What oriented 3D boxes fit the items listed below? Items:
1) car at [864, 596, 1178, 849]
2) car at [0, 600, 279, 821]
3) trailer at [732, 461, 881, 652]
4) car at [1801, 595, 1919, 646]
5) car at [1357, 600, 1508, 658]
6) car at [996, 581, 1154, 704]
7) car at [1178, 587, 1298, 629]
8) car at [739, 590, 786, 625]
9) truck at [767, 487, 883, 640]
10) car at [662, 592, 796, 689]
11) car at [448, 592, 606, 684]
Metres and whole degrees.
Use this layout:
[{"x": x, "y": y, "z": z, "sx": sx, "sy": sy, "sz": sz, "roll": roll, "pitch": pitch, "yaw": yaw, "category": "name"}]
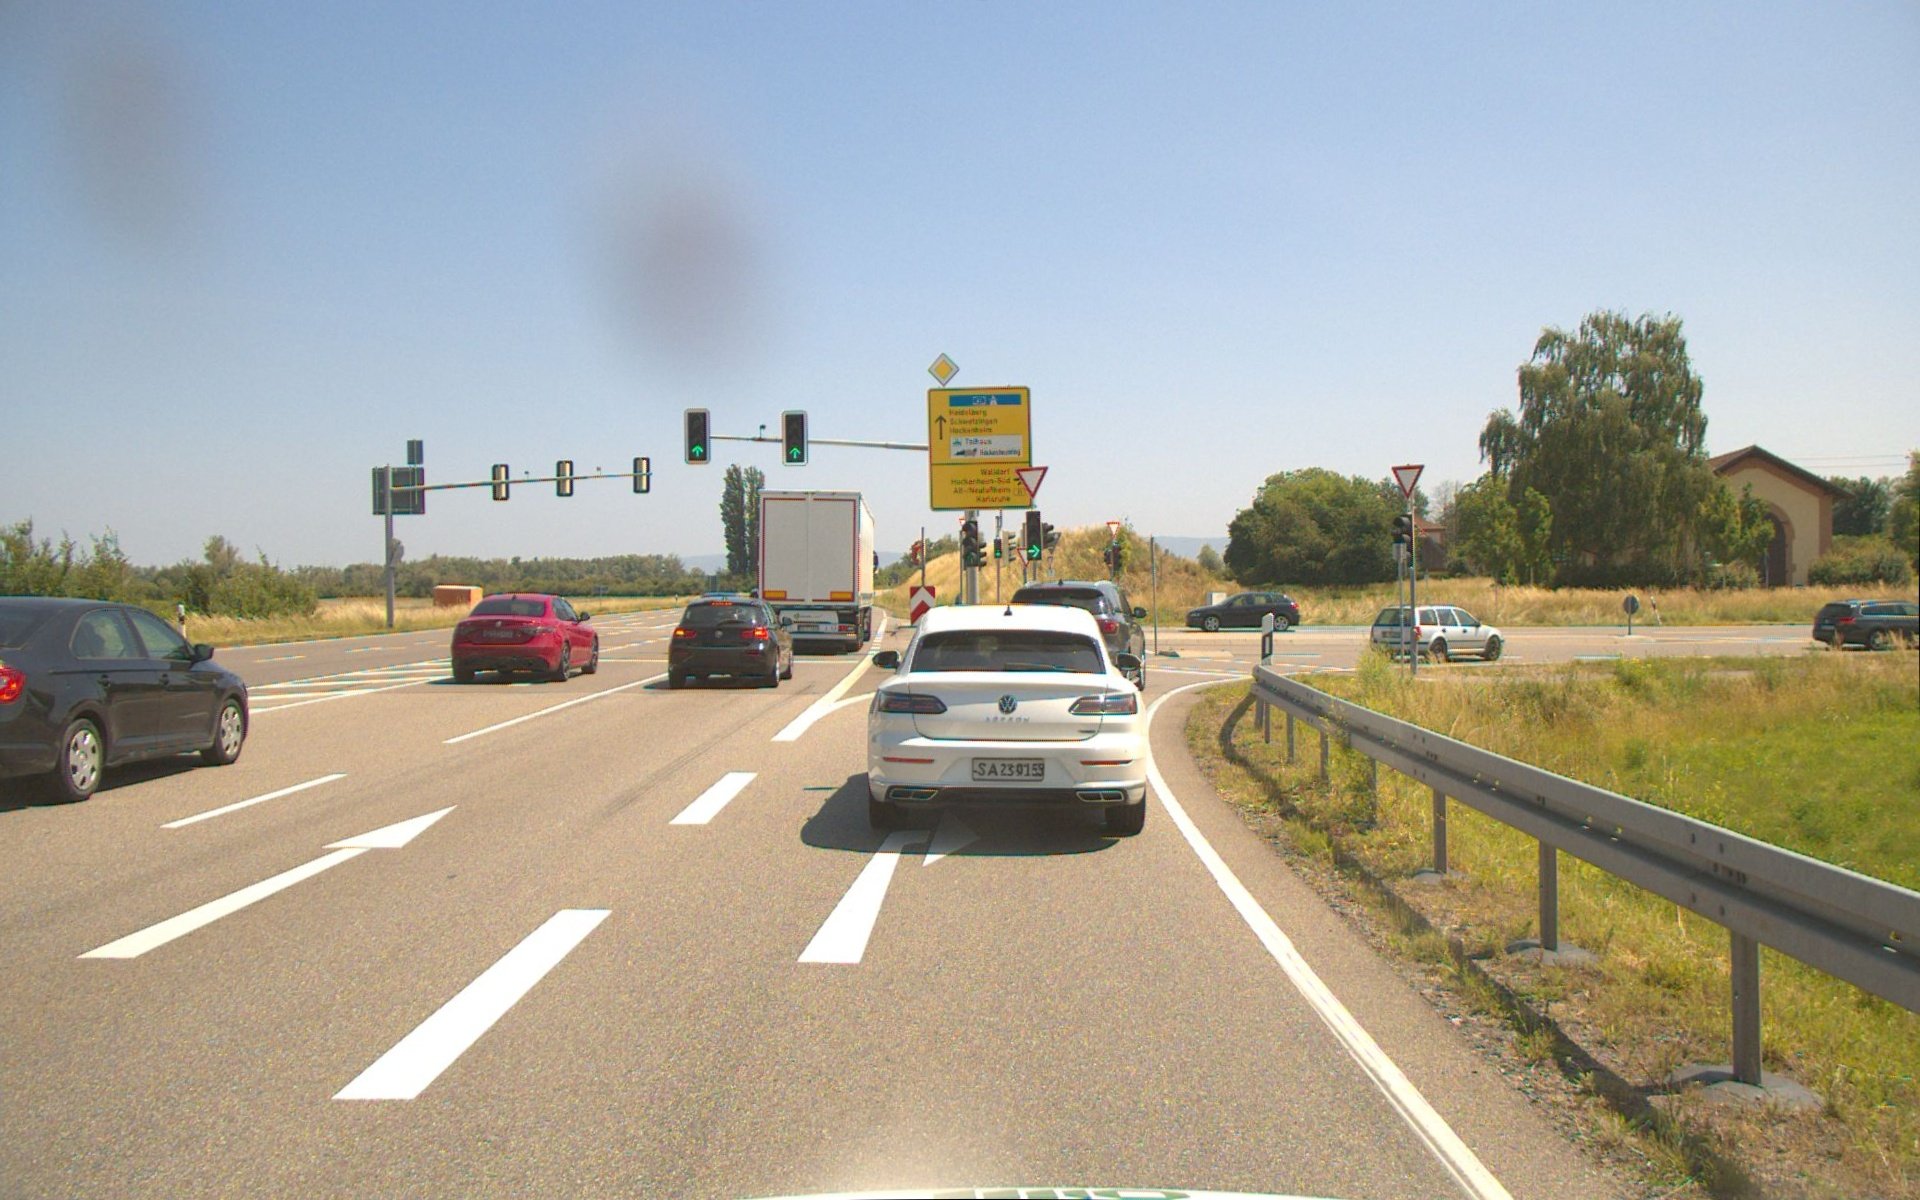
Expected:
[{"x": 0.325, "y": 0.716, "z": 11.869, "sx": 1.810, "sy": 1.458, "sz": 4.607, "roll": 0, "pitch": 0, "yaw": -1, "category": "car"}, {"x": -7.029, "y": 0.723, "z": 12.956, "sx": 1.641, "sy": 1.436, "sz": 4.465, "roll": 0, "pitch": 0, "yaw": -2, "category": "car"}, {"x": -4.055, "y": -1.078, "z": 46.777, "sx": 3.313, "sy": 4.622, "sz": 12.867, "roll": 1, "pitch": 0, "yaw": -2, "category": "trailer"}, {"x": 27.905, "y": 0.604, "z": 50.021, "sx": 4.327, "sy": 1.502, "sz": 1.798, "roll": 0, "pitch": 0, "yaw": -15, "category": "car"}, {"x": 12.345, "y": 0.735, "z": 43.113, "sx": 4.051, "sy": 1.454, "sz": 1.781, "roll": 0, "pitch": 0, "yaw": -38, "category": "car"}, {"x": 1.790, "y": 0.569, "z": 24.431, "sx": 1.893, "sy": 1.645, "sz": 4.382, "roll": 0, "pitch": 0, "yaw": 10, "category": "car"}, {"x": 10.230, "y": 0.268, "z": 61.073, "sx": 4.171, "sy": 1.392, "sz": 1.777, "roll": -1, "pitch": 1, "yaw": 2, "category": "car"}, {"x": -8.802, "y": 0.336, "z": 73.941, "sx": 1.773, "sy": 1.519, "sz": 4.019, "roll": 1, "pitch": 0, "yaw": -3, "category": "car"}, {"x": -4.248, "y": -1.110, "z": 53.476, "sx": 3.312, "sy": 4.622, "sz": 6.370, "roll": 1, "pitch": 0, "yaw": -1, "category": "truck"}, {"x": -3.788, "y": 0.624, "z": 27.784, "sx": 1.748, "sy": 1.455, "sz": 4.379, "roll": 1, "pitch": 1, "yaw": -2, "category": "car"}, {"x": -7.474, "y": 0.607, "z": 28.971, "sx": 1.714, "sy": 1.446, "sz": 4.564, "roll": 1, "pitch": 1, "yaw": -2, "category": "car"}]
